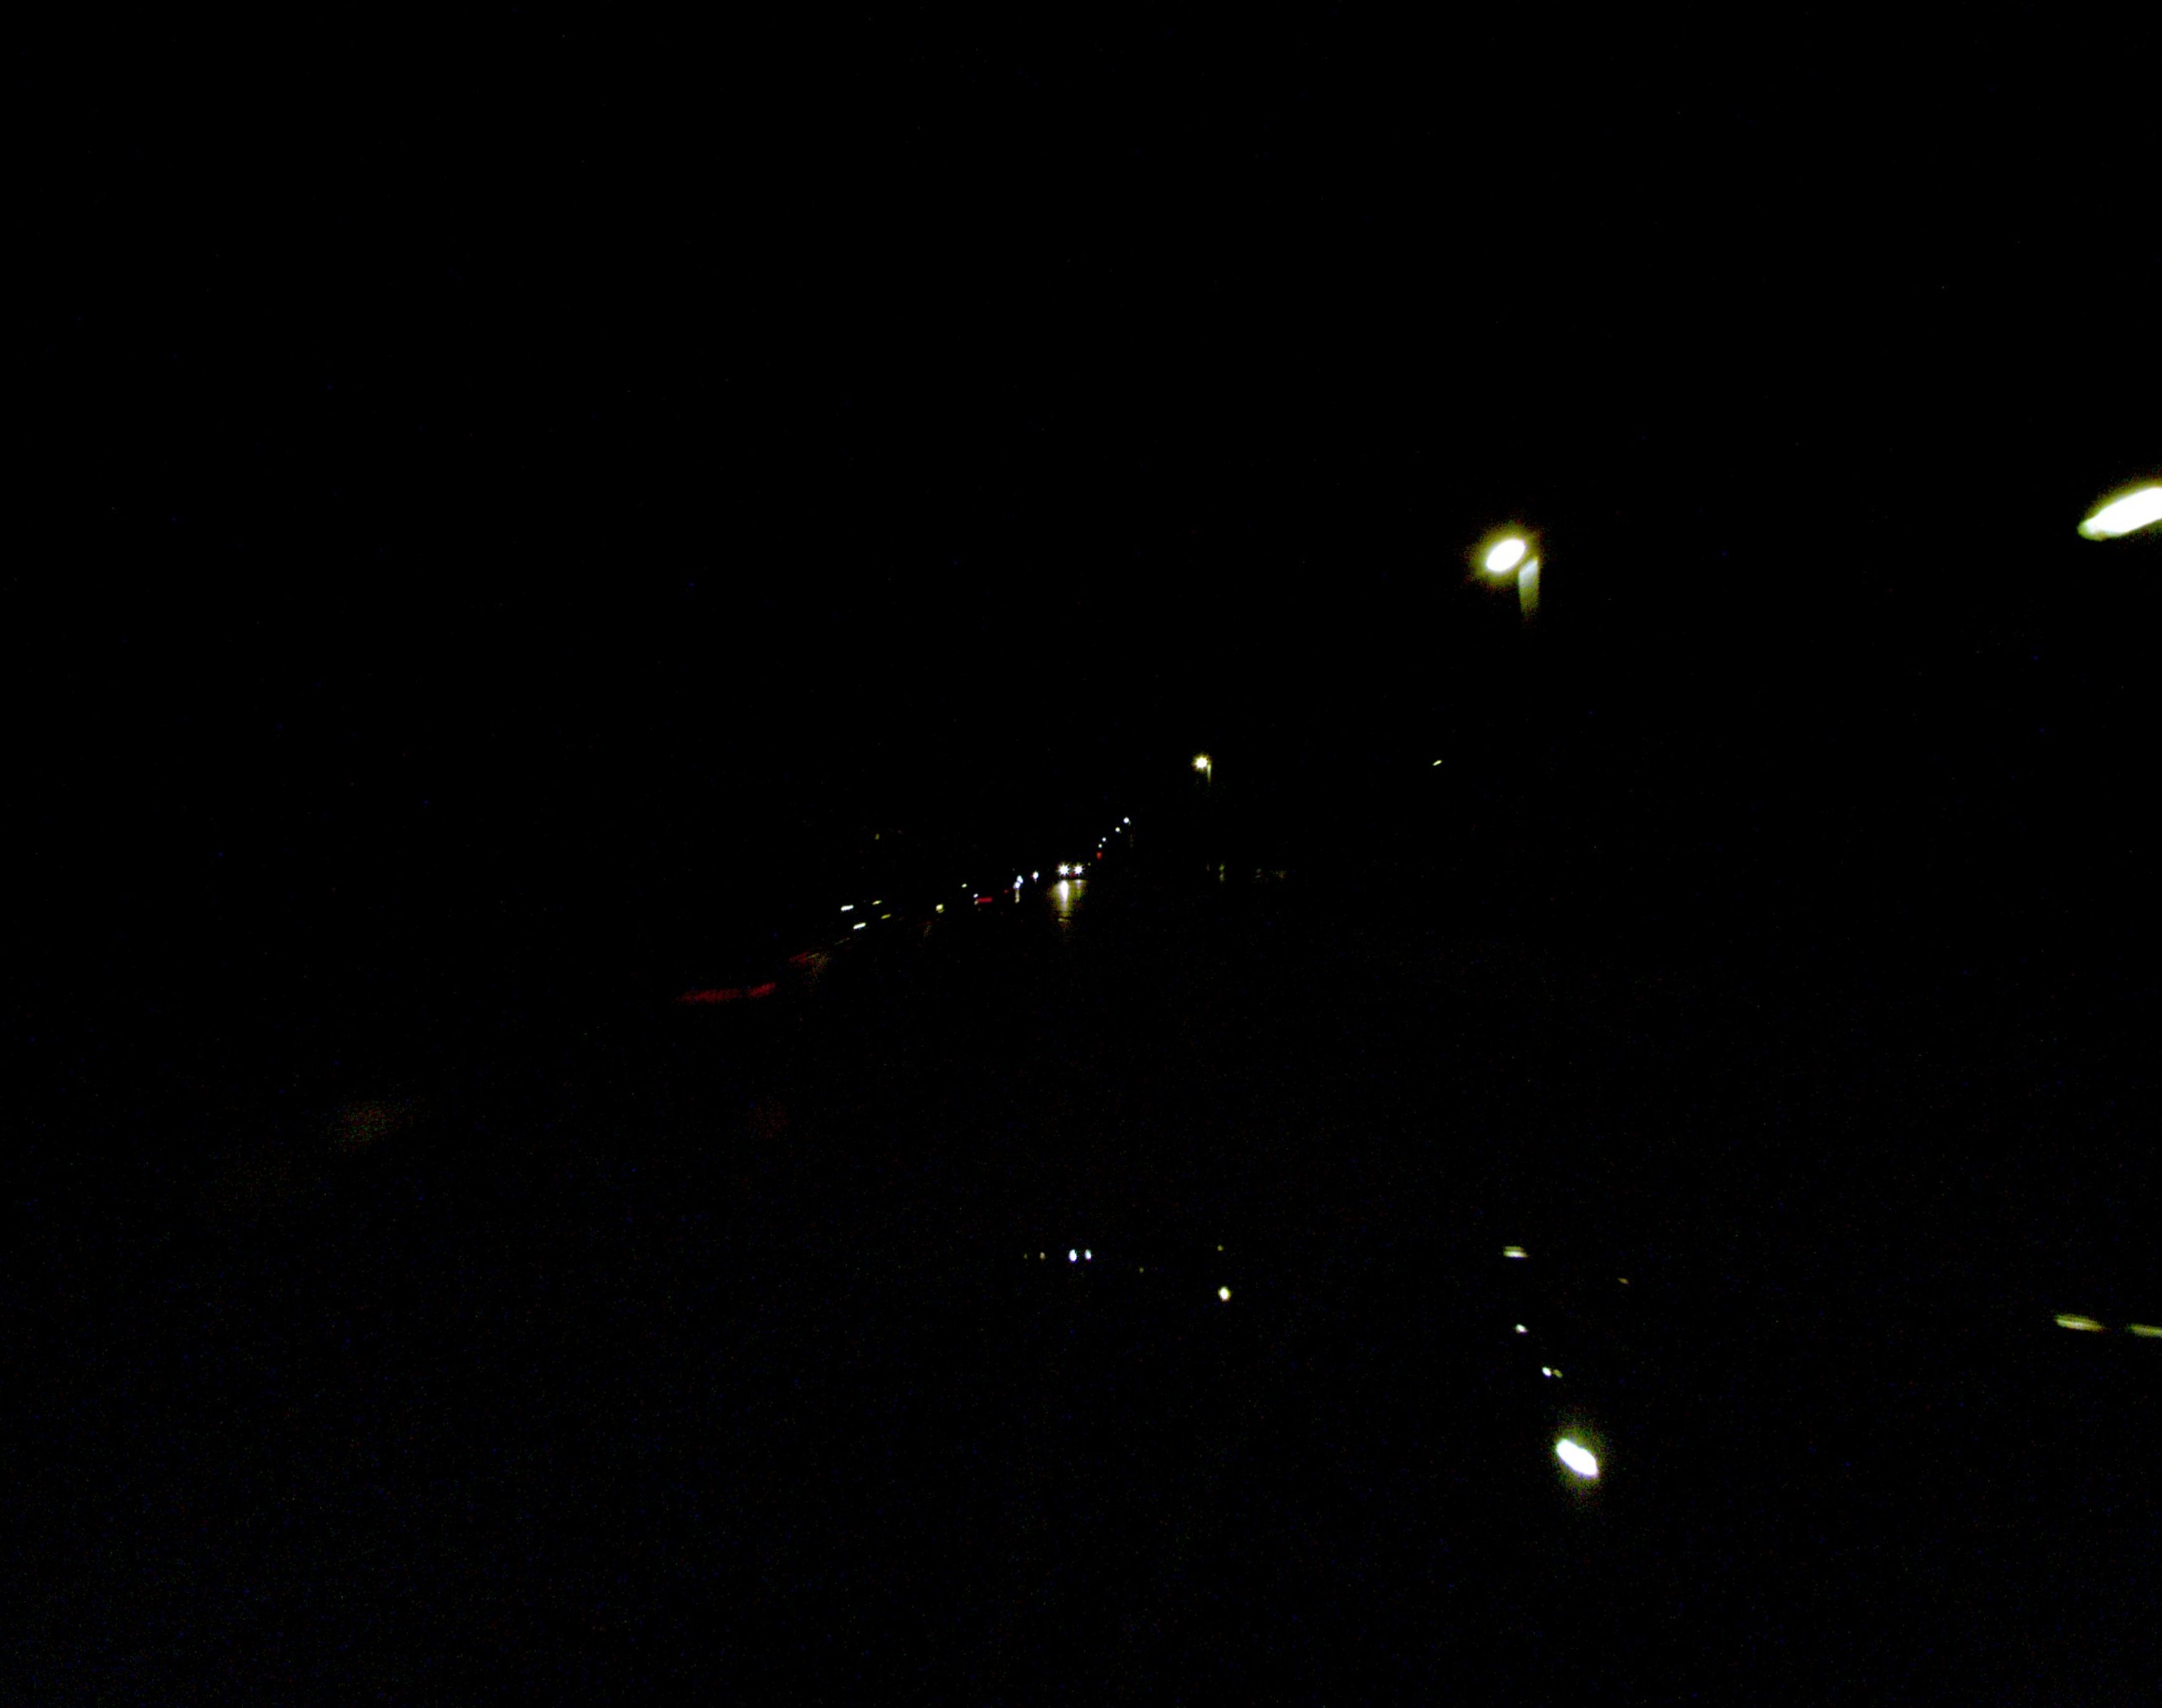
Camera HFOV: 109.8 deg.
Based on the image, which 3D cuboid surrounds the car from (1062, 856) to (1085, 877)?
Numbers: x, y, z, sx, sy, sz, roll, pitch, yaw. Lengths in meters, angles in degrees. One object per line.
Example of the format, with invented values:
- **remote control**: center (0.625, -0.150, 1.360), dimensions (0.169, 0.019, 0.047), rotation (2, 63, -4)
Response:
- **car**: center (-0.573, 0.925, 57.820), dimensions (1.627, 1.496, 3.549), rotation (-2, 0, -1)

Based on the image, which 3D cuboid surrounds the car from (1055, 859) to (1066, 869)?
- **car**: center (-3.188, 1.597, 117.290), dimensions (1.702, 1.447, 3.713), rotation (-2, 0, -1)

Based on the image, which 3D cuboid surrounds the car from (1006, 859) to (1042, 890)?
- **car**: center (-2.965, 1.046, 40.098), dimensions (1.681, 1.439, 3.999), rotation (-1, 0, -2)

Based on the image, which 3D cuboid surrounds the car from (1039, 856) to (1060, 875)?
- **car**: center (-2.660, 0.972, 64.094), dimensions (1.656, 1.465, 3.517), rotation (-2, 0, -1)

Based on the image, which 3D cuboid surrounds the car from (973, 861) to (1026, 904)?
- **car**: center (-3.141, 1.066, 29.887), dimensions (1.643, 1.458, 3.776), rotation (-2, 0, 0)

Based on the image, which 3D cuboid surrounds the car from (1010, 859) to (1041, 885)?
- **car**: center (-3.281, 1.060, 45.396), dimensions (1.604, 1.390, 3.517), rotation (-2, 0, 0)

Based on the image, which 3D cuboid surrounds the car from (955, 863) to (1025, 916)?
- **car**: center (-2.833, 1.066, 24.391), dimensions (1.766, 1.407, 4.439), rotation (-2, 0, -1)

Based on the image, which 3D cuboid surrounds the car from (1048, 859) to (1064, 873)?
- **car**: center (-2.813, 1.328, 87.000), dimensions (1.702, 1.447, 3.713), rotation (-2, 0, -1)

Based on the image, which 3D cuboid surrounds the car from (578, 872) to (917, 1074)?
- **car**: center (-3.127, 1.004, 8.233), dimensions (1.784, 1.429, 4.289), rotation (-2, 0, -1)

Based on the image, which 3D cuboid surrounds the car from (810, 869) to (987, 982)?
- **car**: center (-2.873, 1.068, 13.087), dimensions (1.680, 1.439, 4.612), rotation (-2, 0, 3)
